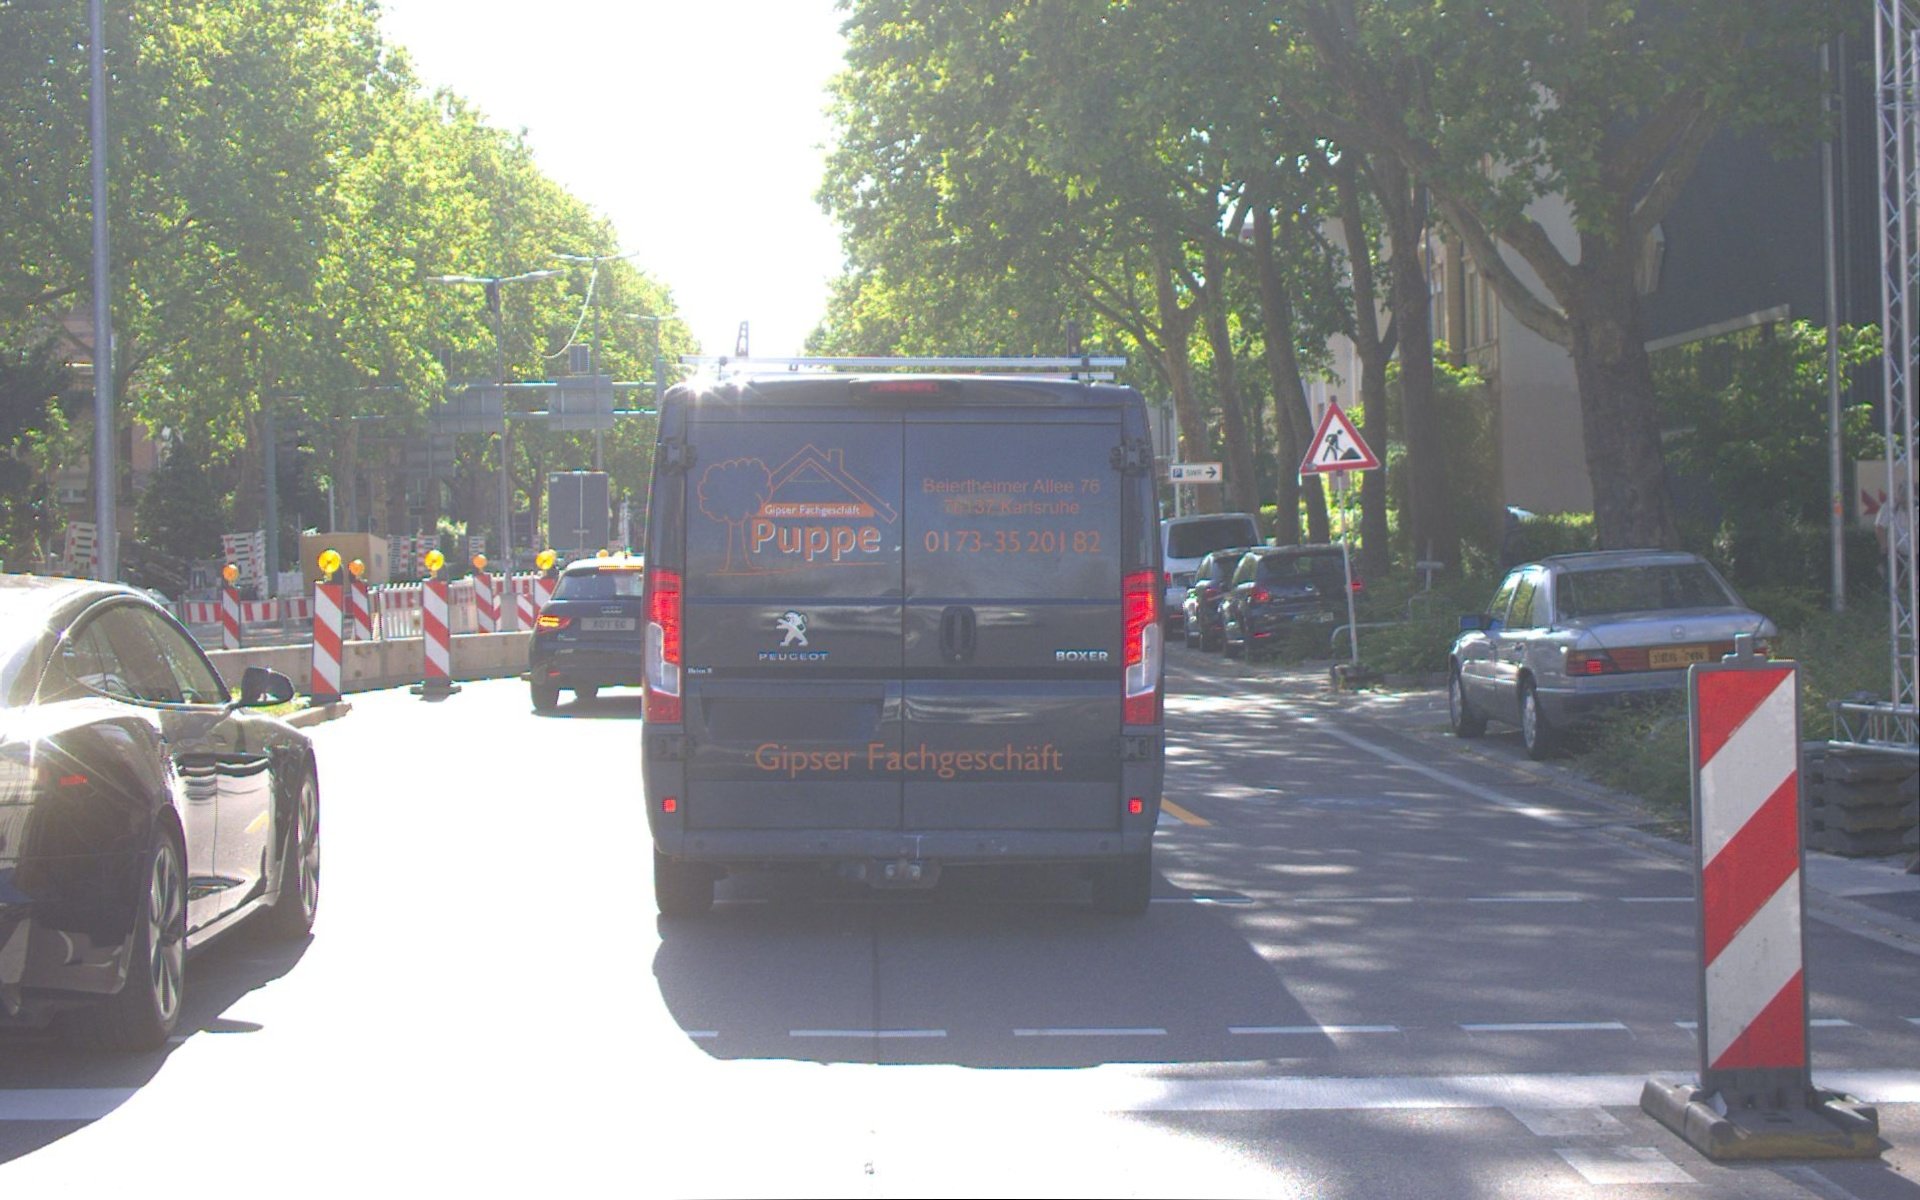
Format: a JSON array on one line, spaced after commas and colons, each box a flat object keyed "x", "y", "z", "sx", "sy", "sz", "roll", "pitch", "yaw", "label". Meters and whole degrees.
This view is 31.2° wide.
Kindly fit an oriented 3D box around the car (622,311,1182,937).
[{"x": -0.242, "y": 0.041, "z": 14.870, "sx": 2.095, "sy": 2.347, "sz": 3.933, "roll": 0, "pitch": 1, "yaw": -1, "label": "car"}]

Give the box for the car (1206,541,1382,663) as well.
[{"x": 4.327, "y": -0.005, "z": 45.091, "sx": 1.763, "sy": 1.503, "sz": 4.251, "roll": -1, "pitch": 1, "yaw": -2, "label": "car"}]

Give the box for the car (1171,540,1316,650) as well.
[{"x": 4.090, "y": -0.093, "z": 50.078, "sx": 1.657, "sy": 1.535, "sz": 4.129, "roll": 0, "pitch": 1, "yaw": -2, "label": "car"}]

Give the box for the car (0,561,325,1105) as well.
[{"x": -3.386, "y": 0.614, "z": 11.448, "sx": 1.925, "sy": 1.407, "sz": 4.626, "roll": -1, "pitch": 1, "yaw": -3, "label": "car"}]

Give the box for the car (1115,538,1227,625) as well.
[{"x": 3.810, "y": -0.353, "z": 62.511, "sx": 1.748, "sy": 1.472, "sz": 4.101, "roll": -2, "pitch": 1, "yaw": 0, "label": "car"}]

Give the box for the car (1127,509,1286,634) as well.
[{"x": 4.011, "y": -0.484, "z": 56.763, "sx": 2.025, "sy": 1.940, "sz": 5.274, "roll": -1, "pitch": 1, "yaw": -2, "label": "car"}]

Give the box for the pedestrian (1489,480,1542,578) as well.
[{"x": 9.635, "y": -1.234, "z": 59.651, "sx": 0.705, "sy": 1.643, "sz": 0.675, "roll": 1, "pitch": 3, "yaw": -4, "label": "pedestrian"}]

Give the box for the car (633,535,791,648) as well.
[{"x": -3.366, "y": -0.135, "z": 47.408, "sx": 1.911, "sy": 1.439, "sz": 4.603, "roll": -2, "pitch": 1, "yaw": -1, "label": "car"}]

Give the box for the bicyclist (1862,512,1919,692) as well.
[{"x": 9.774, "y": 0.007, "z": 35.295, "sx": 0.724, "sy": 1.814, "sz": 1.071, "roll": -1, "pitch": 1, "yaw": -1, "label": "bicyclist"}]

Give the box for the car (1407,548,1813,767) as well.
[{"x": 4.750, "y": 0.353, "z": 25.869, "sx": 1.852, "sy": 1.474, "sz": 4.943, "roll": -1, "pitch": 1, "yaw": -3, "label": "car"}]

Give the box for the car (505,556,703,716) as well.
[{"x": -3.418, "y": 0.305, "z": 33.565, "sx": 1.746, "sy": 1.402, "sz": 4.001, "roll": 0, "pitch": 2, "yaw": -3, "label": "car"}]
